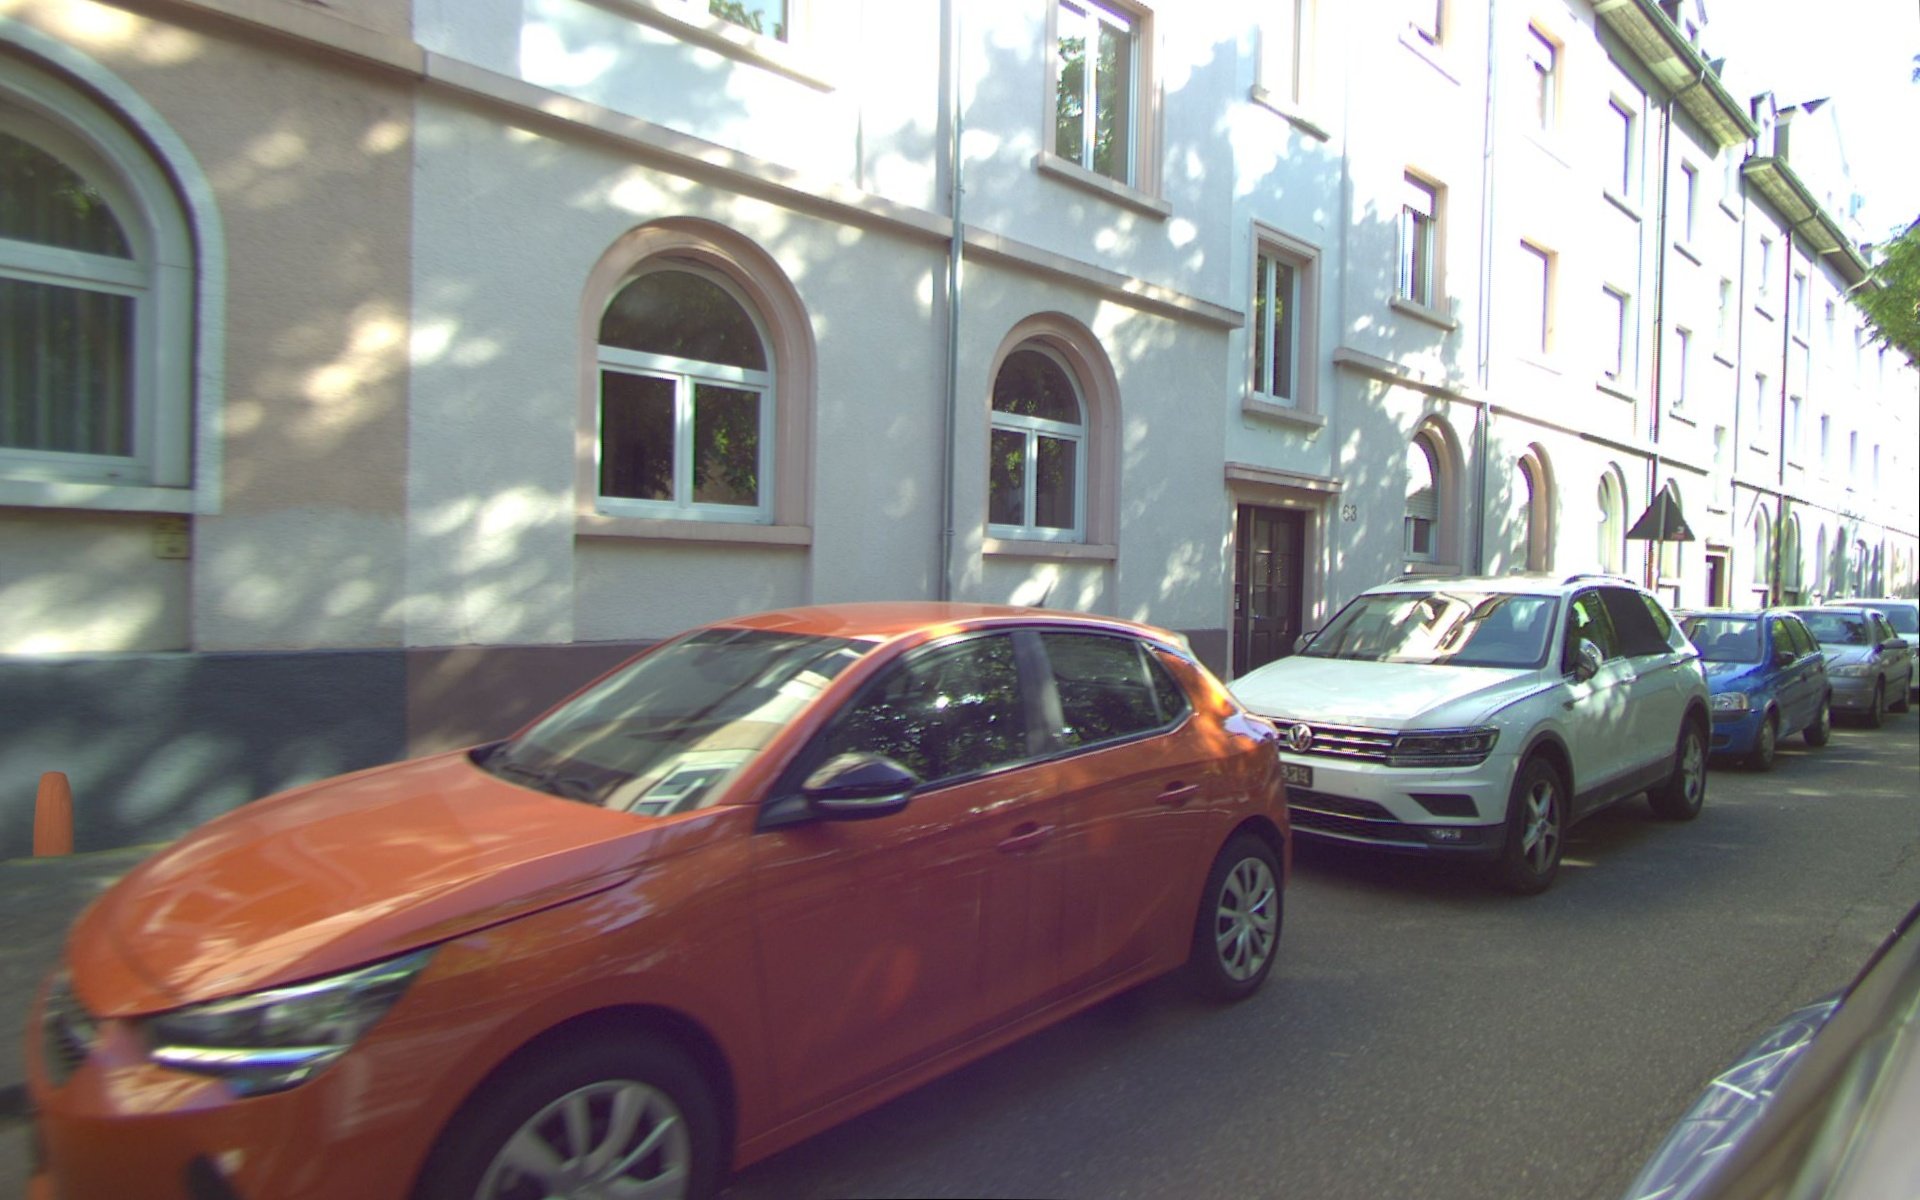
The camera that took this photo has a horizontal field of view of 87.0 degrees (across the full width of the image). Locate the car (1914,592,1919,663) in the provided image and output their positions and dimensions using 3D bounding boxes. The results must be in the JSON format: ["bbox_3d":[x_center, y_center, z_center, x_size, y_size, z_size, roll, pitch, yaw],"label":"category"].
[{"bbox_3d":[22.930,0.632,22.809,4.086,1.547,1.725,0,1,-42],"label":"car"}]

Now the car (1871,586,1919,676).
[{"bbox_3d":[19.023,0.578,19.567,4.088,1.616,1.725,0,1,-43],"label":"car"}]

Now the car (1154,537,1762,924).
[{"bbox_3d":[3.470,0.550,6.594,4.589,1.695,1.821,0,1,-40],"label":"car"}]

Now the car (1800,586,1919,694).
[{"bbox_3d":[15.002,0.587,16.355,3.530,1.553,1.634,0,1,-41],"label":"car"}]

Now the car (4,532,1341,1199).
[{"bbox_3d":[-0.491,0.654,3.364,3.898,1.542,1.792,0,1,-44],"label":"car"}]

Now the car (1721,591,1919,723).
[{"bbox_3d":[11.499,0.636,13.265,4.017,1.430,1.634,0,1,-41],"label":"car"}]

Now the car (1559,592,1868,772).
[{"bbox_3d":[7.597,0.672,10.087,3.720,1.430,1.621,0,1,-40],"label":"car"}]
